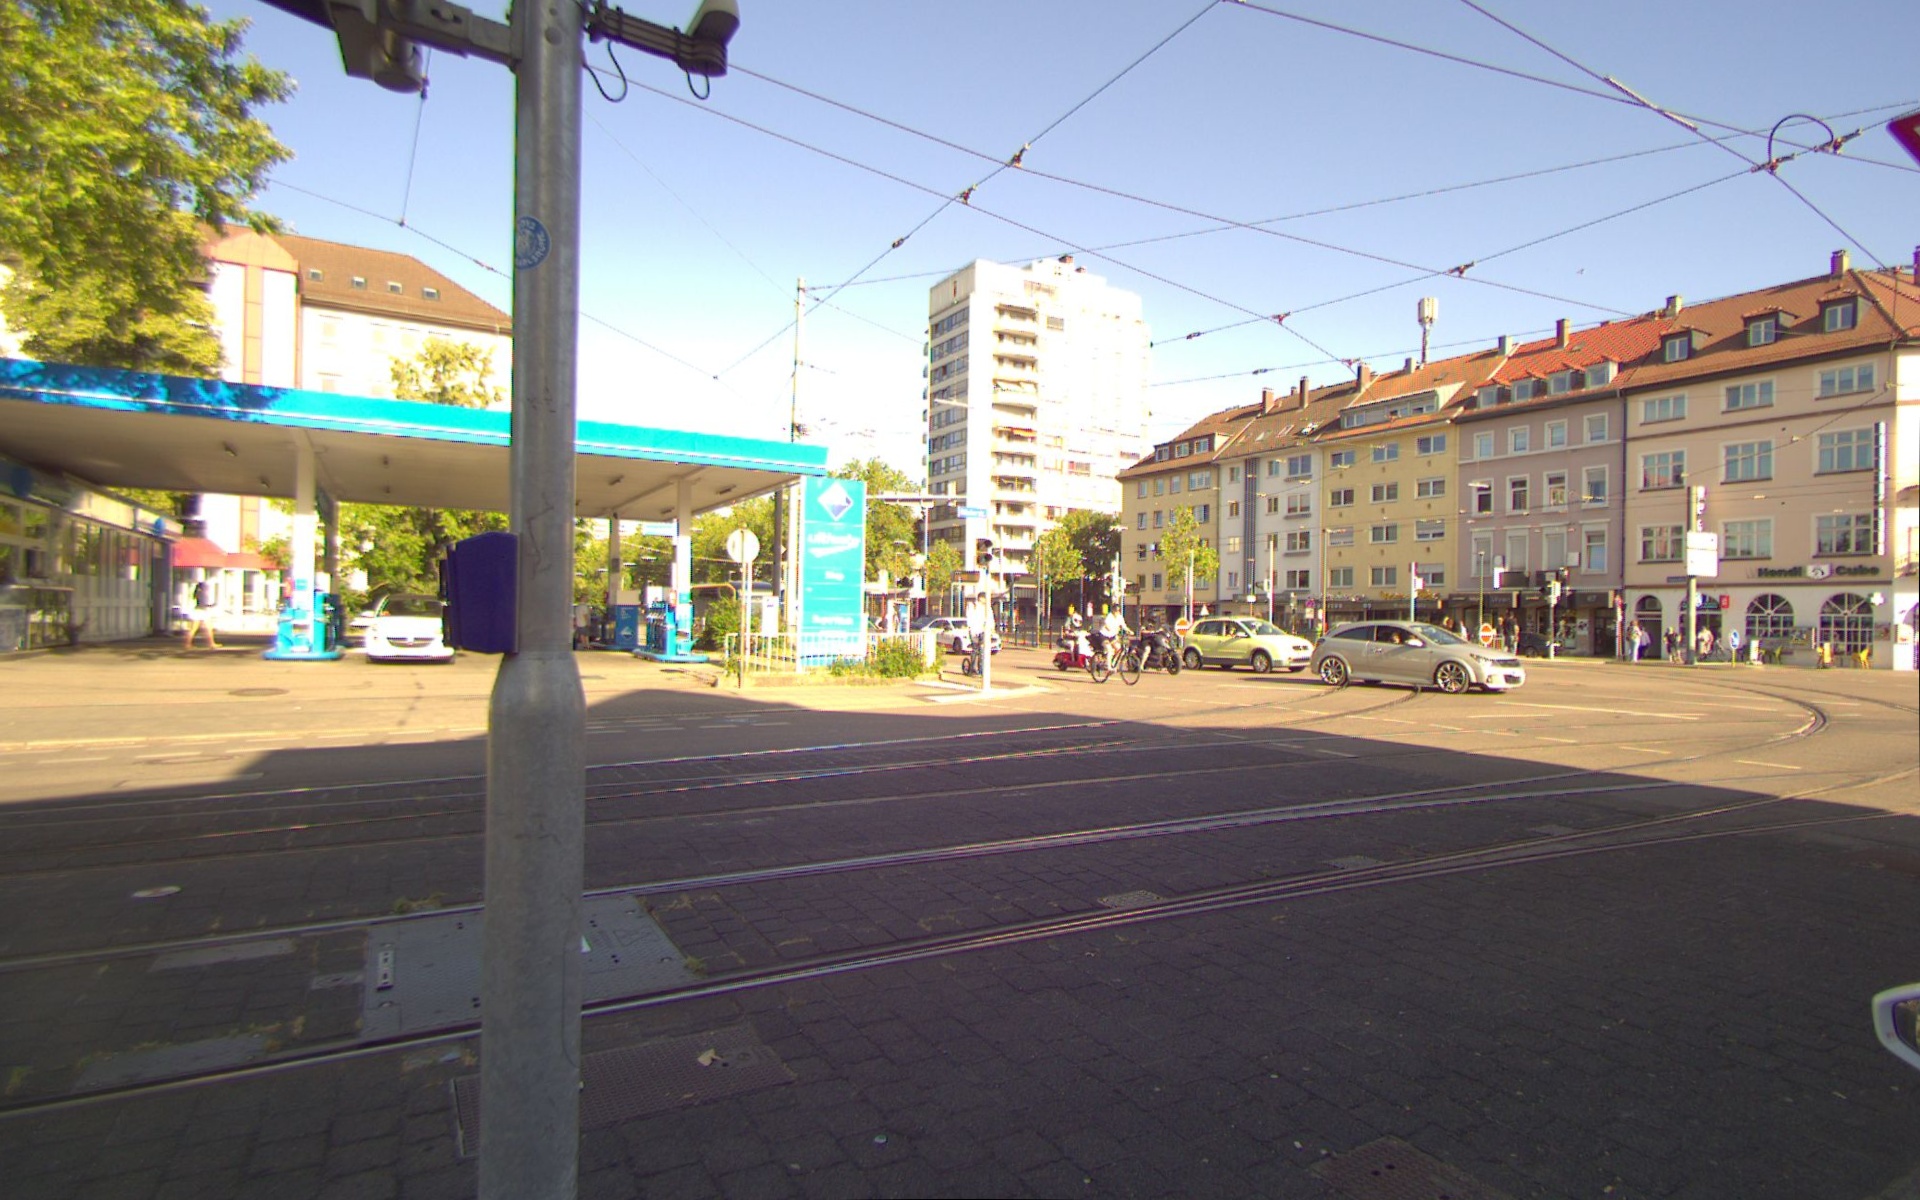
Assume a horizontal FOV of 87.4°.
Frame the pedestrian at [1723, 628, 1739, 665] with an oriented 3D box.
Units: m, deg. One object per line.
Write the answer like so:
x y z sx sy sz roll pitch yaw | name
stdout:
26.962 1.632 35.140 0.447 1.270 0.361 1 -1 -41 | pedestrian

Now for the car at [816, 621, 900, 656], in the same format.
-4.342 1.591 42.245 1.630 1.399 4.241 1 -2 -36 | car

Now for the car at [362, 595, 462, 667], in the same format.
-12.362 0.669 22.552 1.793 1.461 3.966 1 -1 -31 | car

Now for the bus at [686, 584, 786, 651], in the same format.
-12.888 0.847 57.074 2.748 3.504 9.364 0 1 -31 | bus

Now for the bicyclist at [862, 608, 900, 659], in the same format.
-2.645 1.095 33.474 0.923 1.659 1.020 1 -1 -29 | bicyclist

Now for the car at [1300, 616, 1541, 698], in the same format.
9.363 1.104 20.733 1.725 1.460 4.239 2 -1 -36 | car

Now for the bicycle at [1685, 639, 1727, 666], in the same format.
37.752 2.665 50.831 1.693 1.293 0.385 0 -1 44 | bicycle

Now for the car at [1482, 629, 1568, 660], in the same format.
30.740 2.400 54.772 1.795 1.511 3.715 2 0 -27 | car

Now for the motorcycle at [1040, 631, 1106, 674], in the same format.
3.126 1.441 27.979 0.500 1.133 2.008 1 -1 -40 | motorcycle

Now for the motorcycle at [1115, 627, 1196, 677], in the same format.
5.203 1.353 26.875 0.689 1.244 2.186 1 -1 -40 | motorcycle

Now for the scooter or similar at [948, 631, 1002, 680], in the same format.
0.323 1.243 22.784 0.558 1.057 1.424 1 -1 -30 | scooter or similar

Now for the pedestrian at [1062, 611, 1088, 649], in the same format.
5.015 1.314 43.733 0.788 1.632 0.766 1 -1 -36 | pedestrian

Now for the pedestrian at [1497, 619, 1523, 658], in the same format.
24.177 1.681 44.145 0.621 1.704 0.763 1 -1 -30 | pedestrian

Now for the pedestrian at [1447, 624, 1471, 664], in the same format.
20.242 1.767 40.739 0.553 1.602 0.695 1 -1 -30 | pedestrian

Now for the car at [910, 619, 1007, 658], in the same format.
-0.134 1.507 40.800 1.723 1.492 4.644 1 -1 -33 | car

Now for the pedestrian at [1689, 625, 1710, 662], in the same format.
34.525 2.037 46.896 0.731 1.704 0.626 0 -1 35 | pedestrian

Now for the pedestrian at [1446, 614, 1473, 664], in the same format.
19.148 1.481 38.502 0.769 1.874 0.625 1 -1 -30 | pedestrian

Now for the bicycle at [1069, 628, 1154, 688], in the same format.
3.379 1.272 22.552 0.736 1.239 1.909 1 -1 -37 | bicycle

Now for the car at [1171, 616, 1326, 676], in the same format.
7.933 1.216 27.913 1.724 1.518 3.929 1 -1 -35 | car

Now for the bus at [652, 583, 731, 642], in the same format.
-17.433 0.708 64.818 2.755 3.504 8.571 0 1 -30 | bus

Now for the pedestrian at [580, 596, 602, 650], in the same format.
-11.789 0.734 32.069 0.579 1.715 0.756 1 -1 -25 | pedestrian

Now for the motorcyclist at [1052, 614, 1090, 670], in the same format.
3.095 1.156 28.013 0.654 1.527 0.807 1 -1 -41 | motorcyclist

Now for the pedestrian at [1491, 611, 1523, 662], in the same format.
20.465 1.357 37.581 0.714 1.853 0.763 1 -1 -30 | pedestrian

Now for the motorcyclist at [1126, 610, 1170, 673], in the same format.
5.063 1.118 27.080 0.810 1.642 0.824 2 0 -41 | motorcyclist

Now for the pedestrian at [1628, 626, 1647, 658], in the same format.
36.264 2.246 53.774 0.623 1.704 0.734 1 -1 -41 | pedestrian

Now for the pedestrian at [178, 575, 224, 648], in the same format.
-18.145 0.284 24.035 0.751 1.715 0.583 1 -1 -28 | pedestrian

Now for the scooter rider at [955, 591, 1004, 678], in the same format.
0.439 0.772 22.743 0.788 1.937 0.791 1 0 -30 | scooter rider

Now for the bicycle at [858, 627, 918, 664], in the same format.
-2.397 1.460 33.017 1.047 1.116 2.500 1 -1 -29 | bicycle

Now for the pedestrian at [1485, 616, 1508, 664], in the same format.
20.873 1.550 39.068 0.553 1.810 0.557 1 -1 -30 | pedestrian

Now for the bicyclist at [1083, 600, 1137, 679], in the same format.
3.369 0.869 22.578 0.727 1.735 0.932 1 -1 -37 | bicyclist

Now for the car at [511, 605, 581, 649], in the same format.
-13.582 0.855 32.873 1.697 1.360 3.970 1 -1 -28 | car

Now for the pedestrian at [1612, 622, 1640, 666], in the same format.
26.372 1.730 39.779 0.621 1.704 0.737 1 -1 -30 | pedestrian

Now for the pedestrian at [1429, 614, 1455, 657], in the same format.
18.926 1.399 39.428 0.565 1.657 0.737 1 -1 -30 | pedestrian

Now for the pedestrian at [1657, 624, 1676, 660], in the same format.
33.898 2.025 48.172 0.731 1.704 0.626 0 -1 35 | pedestrian
